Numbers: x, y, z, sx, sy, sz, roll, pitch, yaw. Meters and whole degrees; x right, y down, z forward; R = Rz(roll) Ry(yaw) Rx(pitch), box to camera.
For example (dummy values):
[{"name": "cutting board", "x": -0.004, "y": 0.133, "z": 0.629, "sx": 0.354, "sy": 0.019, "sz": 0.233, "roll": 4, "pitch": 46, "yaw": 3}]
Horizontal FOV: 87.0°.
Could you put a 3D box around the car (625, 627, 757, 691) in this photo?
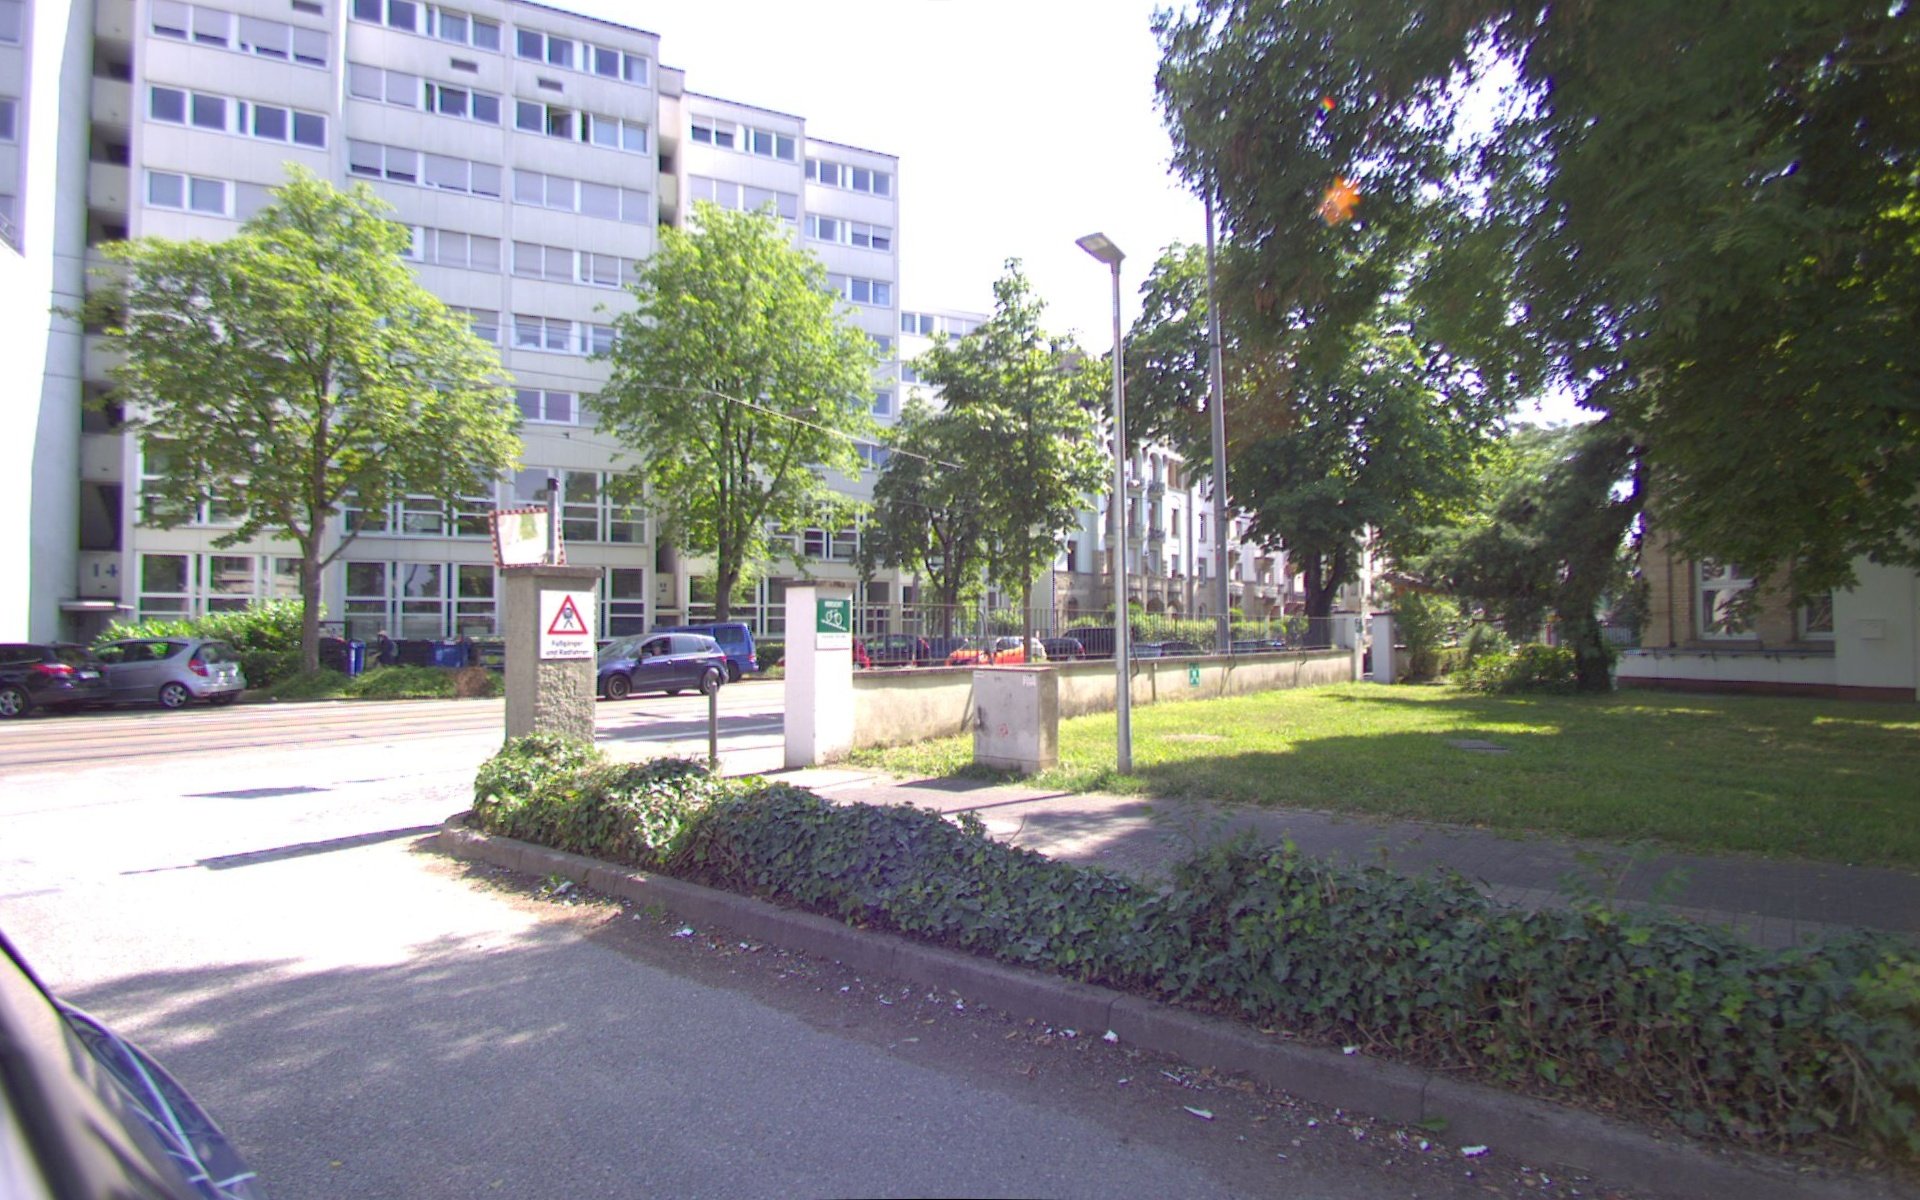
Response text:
[{"name": "car", "x": -8.683, "y": 1.887, "z": 32.882, "sx": 3.937, "sy": 1.921, "sz": 1.790, "roll": -1, "pitch": -3, "yaw": -7}]

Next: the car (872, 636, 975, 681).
[{"name": "car", "x": -1.506, "y": 2.321, "z": 40.520, "sx": 3.937, "sy": 1.652, "sz": 1.806, "roll": -1, "pitch": -3, "yaw": -7}]

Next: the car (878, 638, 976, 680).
[{"name": "car", "x": -1.450, "y": 2.481, "z": 42.841, "sx": 3.937, "sy": 1.652, "sz": 1.835, "roll": -1, "pitch": -3, "yaw": -7}]

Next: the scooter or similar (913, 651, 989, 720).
[{"name": "scooter or similar", "x": -0.178, "y": 1.535, "z": 18.304, "sx": 0.486, "sy": 1.194, "sz": 1.484, "roll": 1, "pitch": -4, "yaw": -43}]

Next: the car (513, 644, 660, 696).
[{"name": "car", "x": -11.153, "y": 2.087, "z": 30.386, "sx": 3.800, "sy": 1.475, "sz": 1.708, "roll": -1, "pitch": -2, "yaw": 4}]

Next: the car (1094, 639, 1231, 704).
[{"name": "car", "x": 5.178, "y": 1.753, "z": 25.543, "sx": 1.731, "sy": 1.488, "sz": 3.948, "roll": -4, "pitch": -4, "yaw": 39}]

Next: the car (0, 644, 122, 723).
[{"name": "car", "x": -19.497, "y": 1.646, "z": 20.030, "sx": 4.117, "sy": 1.487, "sz": 1.805, "roll": 0, "pitch": -3, "yaw": -10}]

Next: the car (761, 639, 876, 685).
[{"name": "car", "x": -5.279, "y": 2.300, "z": 37.901, "sx": 4.153, "sy": 1.550, "sz": 1.785, "roll": -1, "pitch": -3, "yaw": -7}]

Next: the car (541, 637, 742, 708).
[{"name": "car", "x": -7.631, "y": 1.705, "z": 24.550, "sx": 1.941, "sy": 1.533, "sz": 4.334, "roll": -4, "pitch": -4, "yaw": 38}]

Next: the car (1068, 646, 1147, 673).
[{"name": "car", "x": 8.104, "y": 3.270, "z": 55.659, "sx": 3.938, "sy": 1.428, "sz": 1.787, "roll": 0, "pitch": -3, "yaw": -6}]

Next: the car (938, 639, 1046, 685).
[{"name": "car", "x": 1.160, "y": 2.091, "z": 34.666, "sx": 1.659, "sy": 1.423, "sz": 4.123, "roll": -3, "pitch": -3, "yaw": 36}]

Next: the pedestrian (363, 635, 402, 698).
[{"name": "pedestrian", "x": -16.786, "y": 1.930, "z": 29.406, "sx": 0.730, "sy": 1.790, "sz": 0.744, "roll": -3, "pitch": -3, "yaw": 36}]

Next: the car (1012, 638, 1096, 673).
[{"name": "car", "x": 4.673, "y": 2.757, "z": 50.844, "sx": 3.940, "sy": 1.674, "sz": 1.831, "roll": -1, "pitch": -2, "yaw": -3}]

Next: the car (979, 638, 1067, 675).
[{"name": "car", "x": 2.979, "y": 2.687, "z": 48.527, "sx": 3.940, "sy": 1.674, "sz": 1.831, "roll": -1, "pitch": -2, "yaw": -3}]

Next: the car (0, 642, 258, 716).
[{"name": "car", "x": -18.396, "y": 1.715, "z": 22.466, "sx": 4.272, "sy": 1.498, "sz": 1.805, "roll": 0, "pitch": -2, "yaw": -7}]
